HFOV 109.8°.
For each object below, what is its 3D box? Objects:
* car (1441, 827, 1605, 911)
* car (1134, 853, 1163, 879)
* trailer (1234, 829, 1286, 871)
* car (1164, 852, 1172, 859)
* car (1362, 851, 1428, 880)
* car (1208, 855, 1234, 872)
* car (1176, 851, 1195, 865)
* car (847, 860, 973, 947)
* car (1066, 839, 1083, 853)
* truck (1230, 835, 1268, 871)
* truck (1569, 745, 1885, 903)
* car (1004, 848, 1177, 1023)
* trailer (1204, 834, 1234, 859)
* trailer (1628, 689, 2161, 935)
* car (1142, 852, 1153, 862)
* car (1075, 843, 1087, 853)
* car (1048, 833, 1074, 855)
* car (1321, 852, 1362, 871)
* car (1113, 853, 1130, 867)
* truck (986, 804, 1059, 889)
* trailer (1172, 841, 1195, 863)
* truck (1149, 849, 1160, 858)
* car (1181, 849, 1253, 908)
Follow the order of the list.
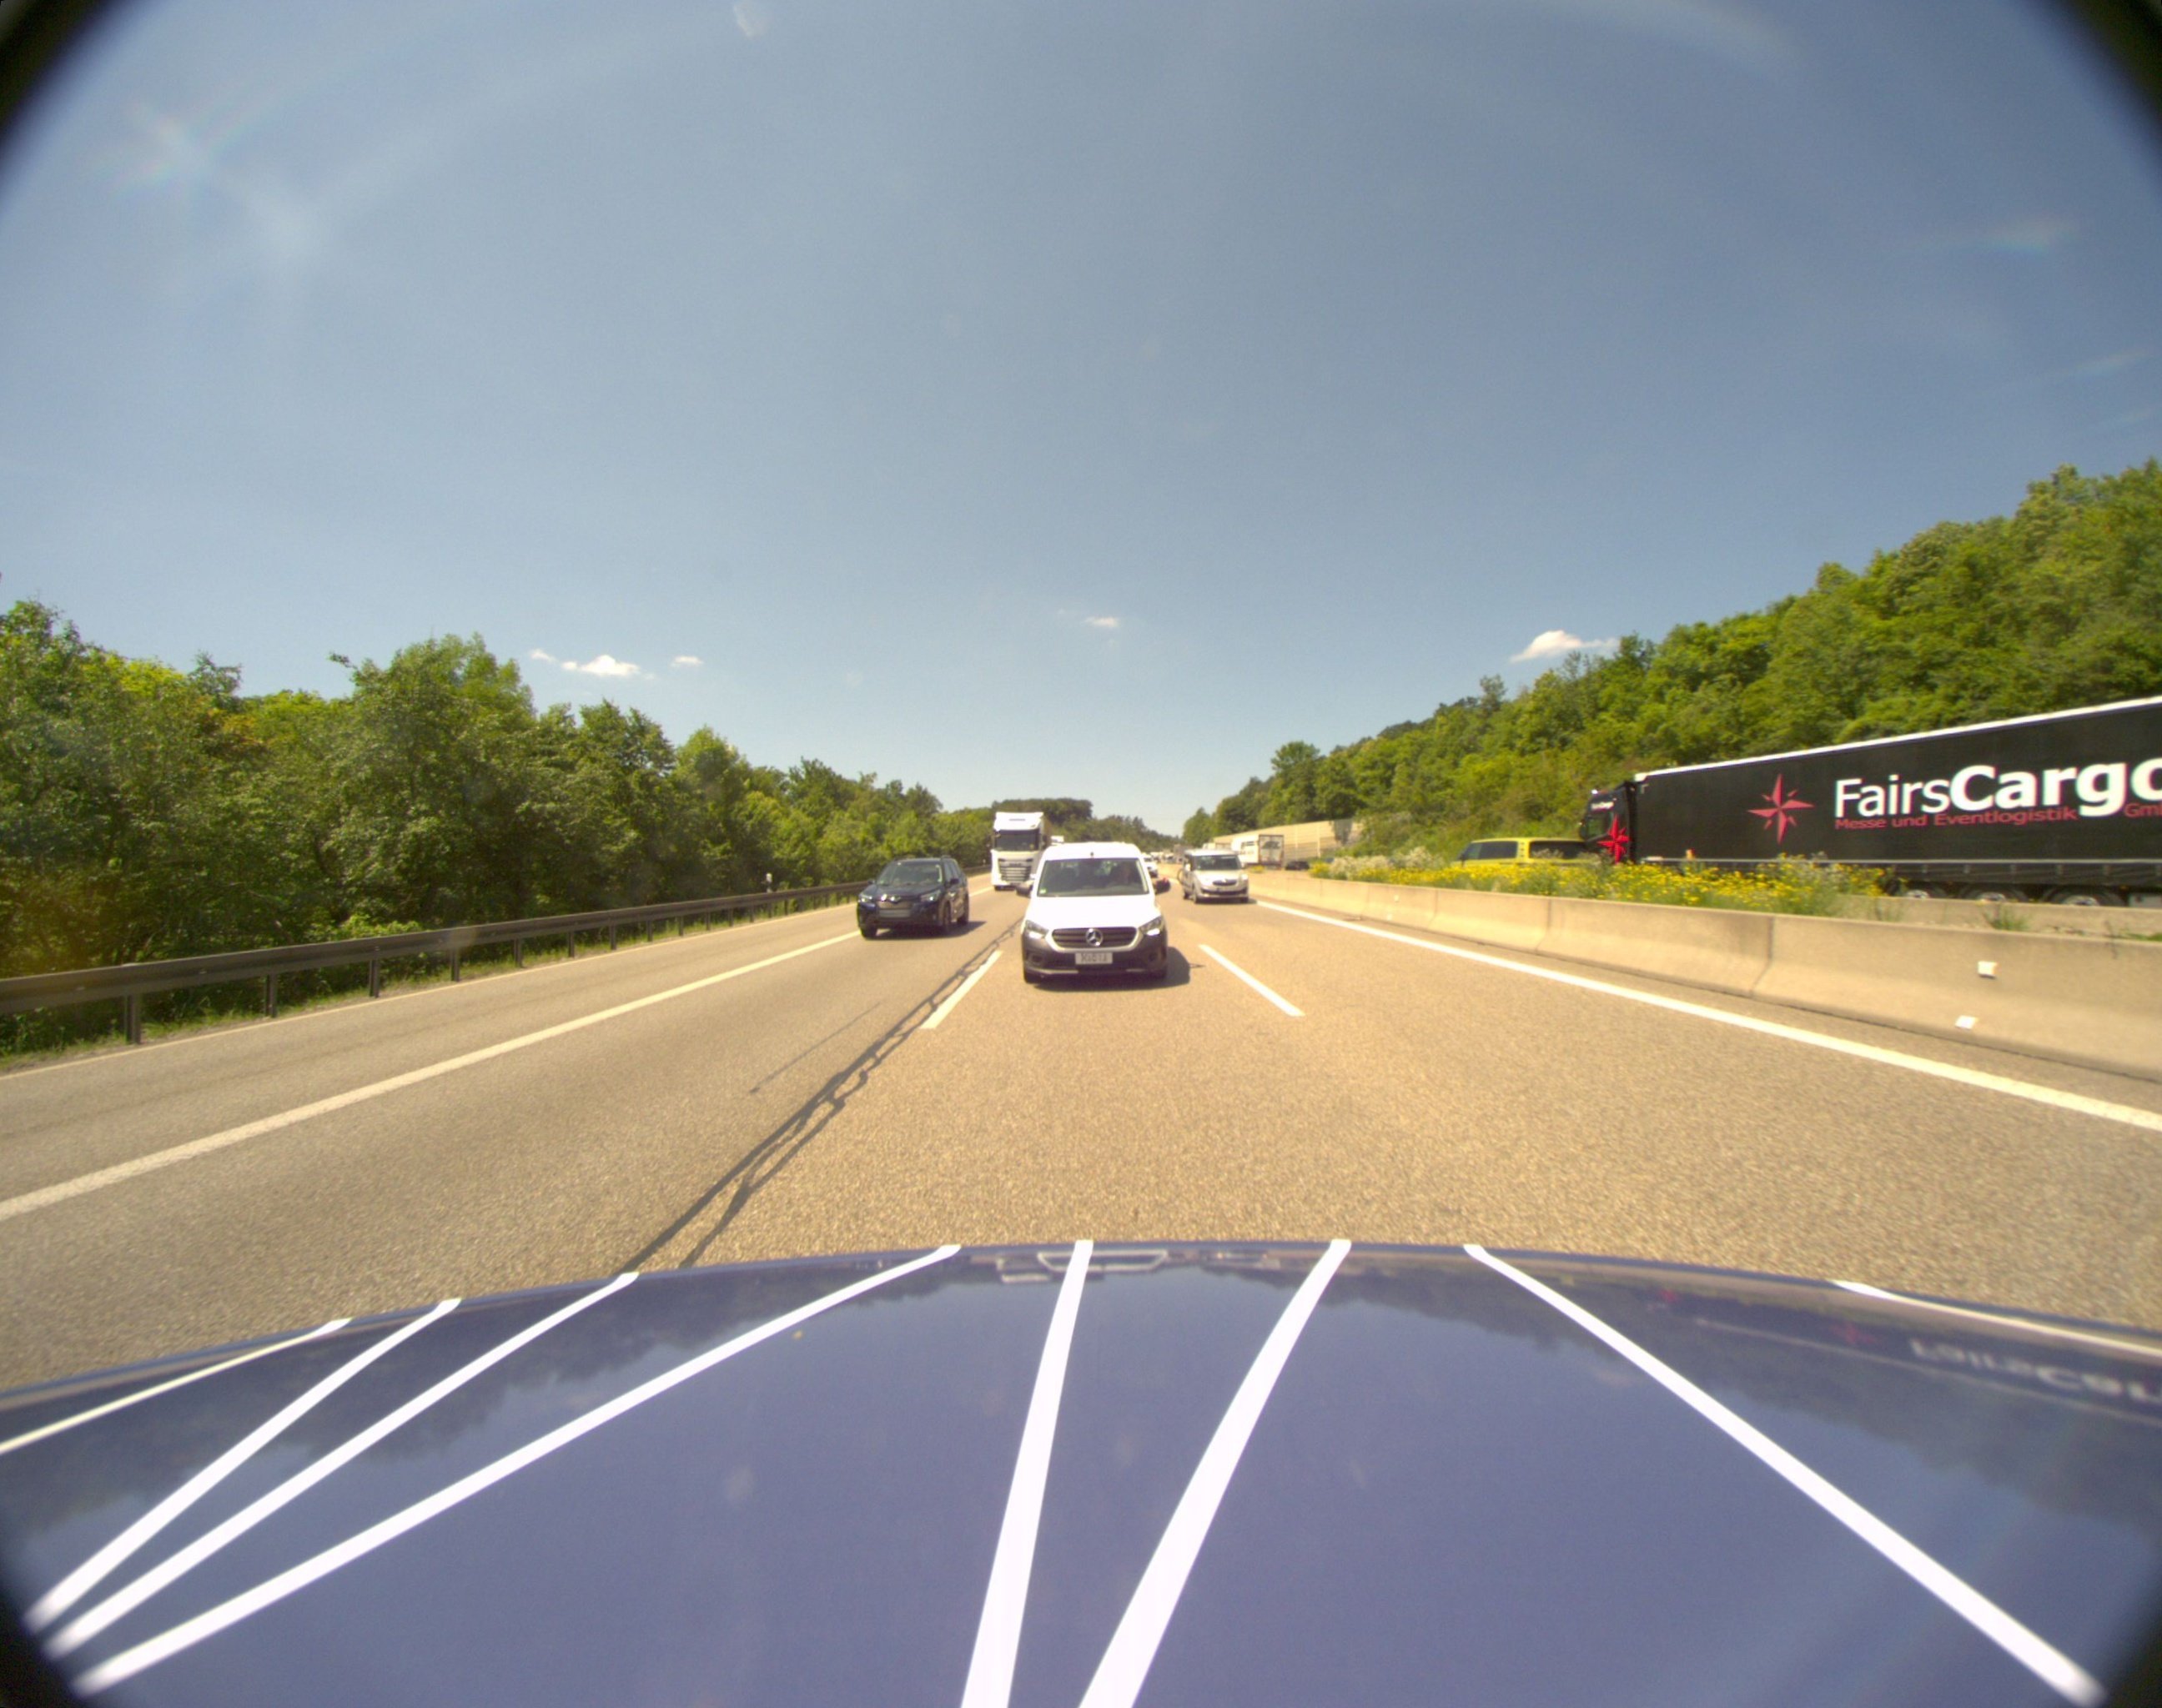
[{"bbox_3d":[11.844,0.373,20.755,1.884,2.002,4.468,-1,0,1],"label":"car"},{"bbox_3d":[5.006,0.842,56.499,1.998,1.827,4.001,1,0,3],"label":"car"},{"bbox_3d":[19.698,-0.492,84.706,2.810,4.313,14.036,0,1,1],"label":"trailer"},{"bbox_3d":[27.024,0.371,235.240,1.998,2.002,4.000,-1,0,1],"label":"car"},{"bbox_3d":[15.213,0.537,37.025,1.567,1.358,4.000,0,0,0],"label":"car"},{"bbox_3d":[12.301,0.807,66.813,1.567,1.510,4.000,0,0,0],"label":"car"},{"bbox_3d":[13.895,0.560,101.537,1.888,1.745,4.787,-1,0,0],"label":"car"},{"bbox_3d":[-3.715,1.005,17.311,1.816,1.658,4.203,-2,0,1],"label":"car"},{"bbox_3d":[-1.183,-1.472,143.314,2.721,2.534,5.941,1,1,3],"label":"car"},{"bbox_3d":[19.766,-0.173,89.868,2.810,4.141,7.599,0,1,1],"label":"truck"},{"bbox_3d":[18.853,-0.802,23.126,2.913,3.951,7.768,1,1,0],"label":"truck"},{"bbox_3d":[0.164,0.838,9.931,1.729,1.760,4.313,-1,0,2],"label":"car"},{"bbox_3d":[23.729,-1.302,131.485,2.814,4.024,12.624,1,1,0],"label":"trailer"},{"bbox_3d":[18.832,-0.707,17.166,2.913,3.951,13.886,1,1,0],"label":"trailer"},{"bbox_3d":[13.300,0.636,152.179,1.916,1.836,5.036,-1,0,0],"label":"car"},{"bbox_3d":[-0.003,-1.450,184.731,2.721,2.534,5.941,1,1,3],"label":"car"},{"bbox_3d":[-2.386,-1.235,92.482,2.721,2.534,5.941,1,1,3],"label":"car"},{"bbox_3d":[18.618,0.519,54.417,1.567,1.358,4.000,0,0,0],"label":"car"},{"bbox_3d":[5.291,0.799,99.081,1.998,1.783,4.000,-1,0,0],"label":"car"},{"bbox_3d":[-3.106,-0.370,45.771,2.790,4.144,16.267,-2,0,1],"label":"truck"},{"bbox_3d":[20.495,-0.518,153.275,2.842,4.141,14.737,1,1,1],"label":"trailer"},{"bbox_3d":[22.363,-0.109,231.351,2.534,2.673,11.627,1,1,1],"label":"truck"},{"bbox_3d":[4.539,0.761,25.920,1.780,1.833,4.000,-1,0,1],"label":"car"}]
